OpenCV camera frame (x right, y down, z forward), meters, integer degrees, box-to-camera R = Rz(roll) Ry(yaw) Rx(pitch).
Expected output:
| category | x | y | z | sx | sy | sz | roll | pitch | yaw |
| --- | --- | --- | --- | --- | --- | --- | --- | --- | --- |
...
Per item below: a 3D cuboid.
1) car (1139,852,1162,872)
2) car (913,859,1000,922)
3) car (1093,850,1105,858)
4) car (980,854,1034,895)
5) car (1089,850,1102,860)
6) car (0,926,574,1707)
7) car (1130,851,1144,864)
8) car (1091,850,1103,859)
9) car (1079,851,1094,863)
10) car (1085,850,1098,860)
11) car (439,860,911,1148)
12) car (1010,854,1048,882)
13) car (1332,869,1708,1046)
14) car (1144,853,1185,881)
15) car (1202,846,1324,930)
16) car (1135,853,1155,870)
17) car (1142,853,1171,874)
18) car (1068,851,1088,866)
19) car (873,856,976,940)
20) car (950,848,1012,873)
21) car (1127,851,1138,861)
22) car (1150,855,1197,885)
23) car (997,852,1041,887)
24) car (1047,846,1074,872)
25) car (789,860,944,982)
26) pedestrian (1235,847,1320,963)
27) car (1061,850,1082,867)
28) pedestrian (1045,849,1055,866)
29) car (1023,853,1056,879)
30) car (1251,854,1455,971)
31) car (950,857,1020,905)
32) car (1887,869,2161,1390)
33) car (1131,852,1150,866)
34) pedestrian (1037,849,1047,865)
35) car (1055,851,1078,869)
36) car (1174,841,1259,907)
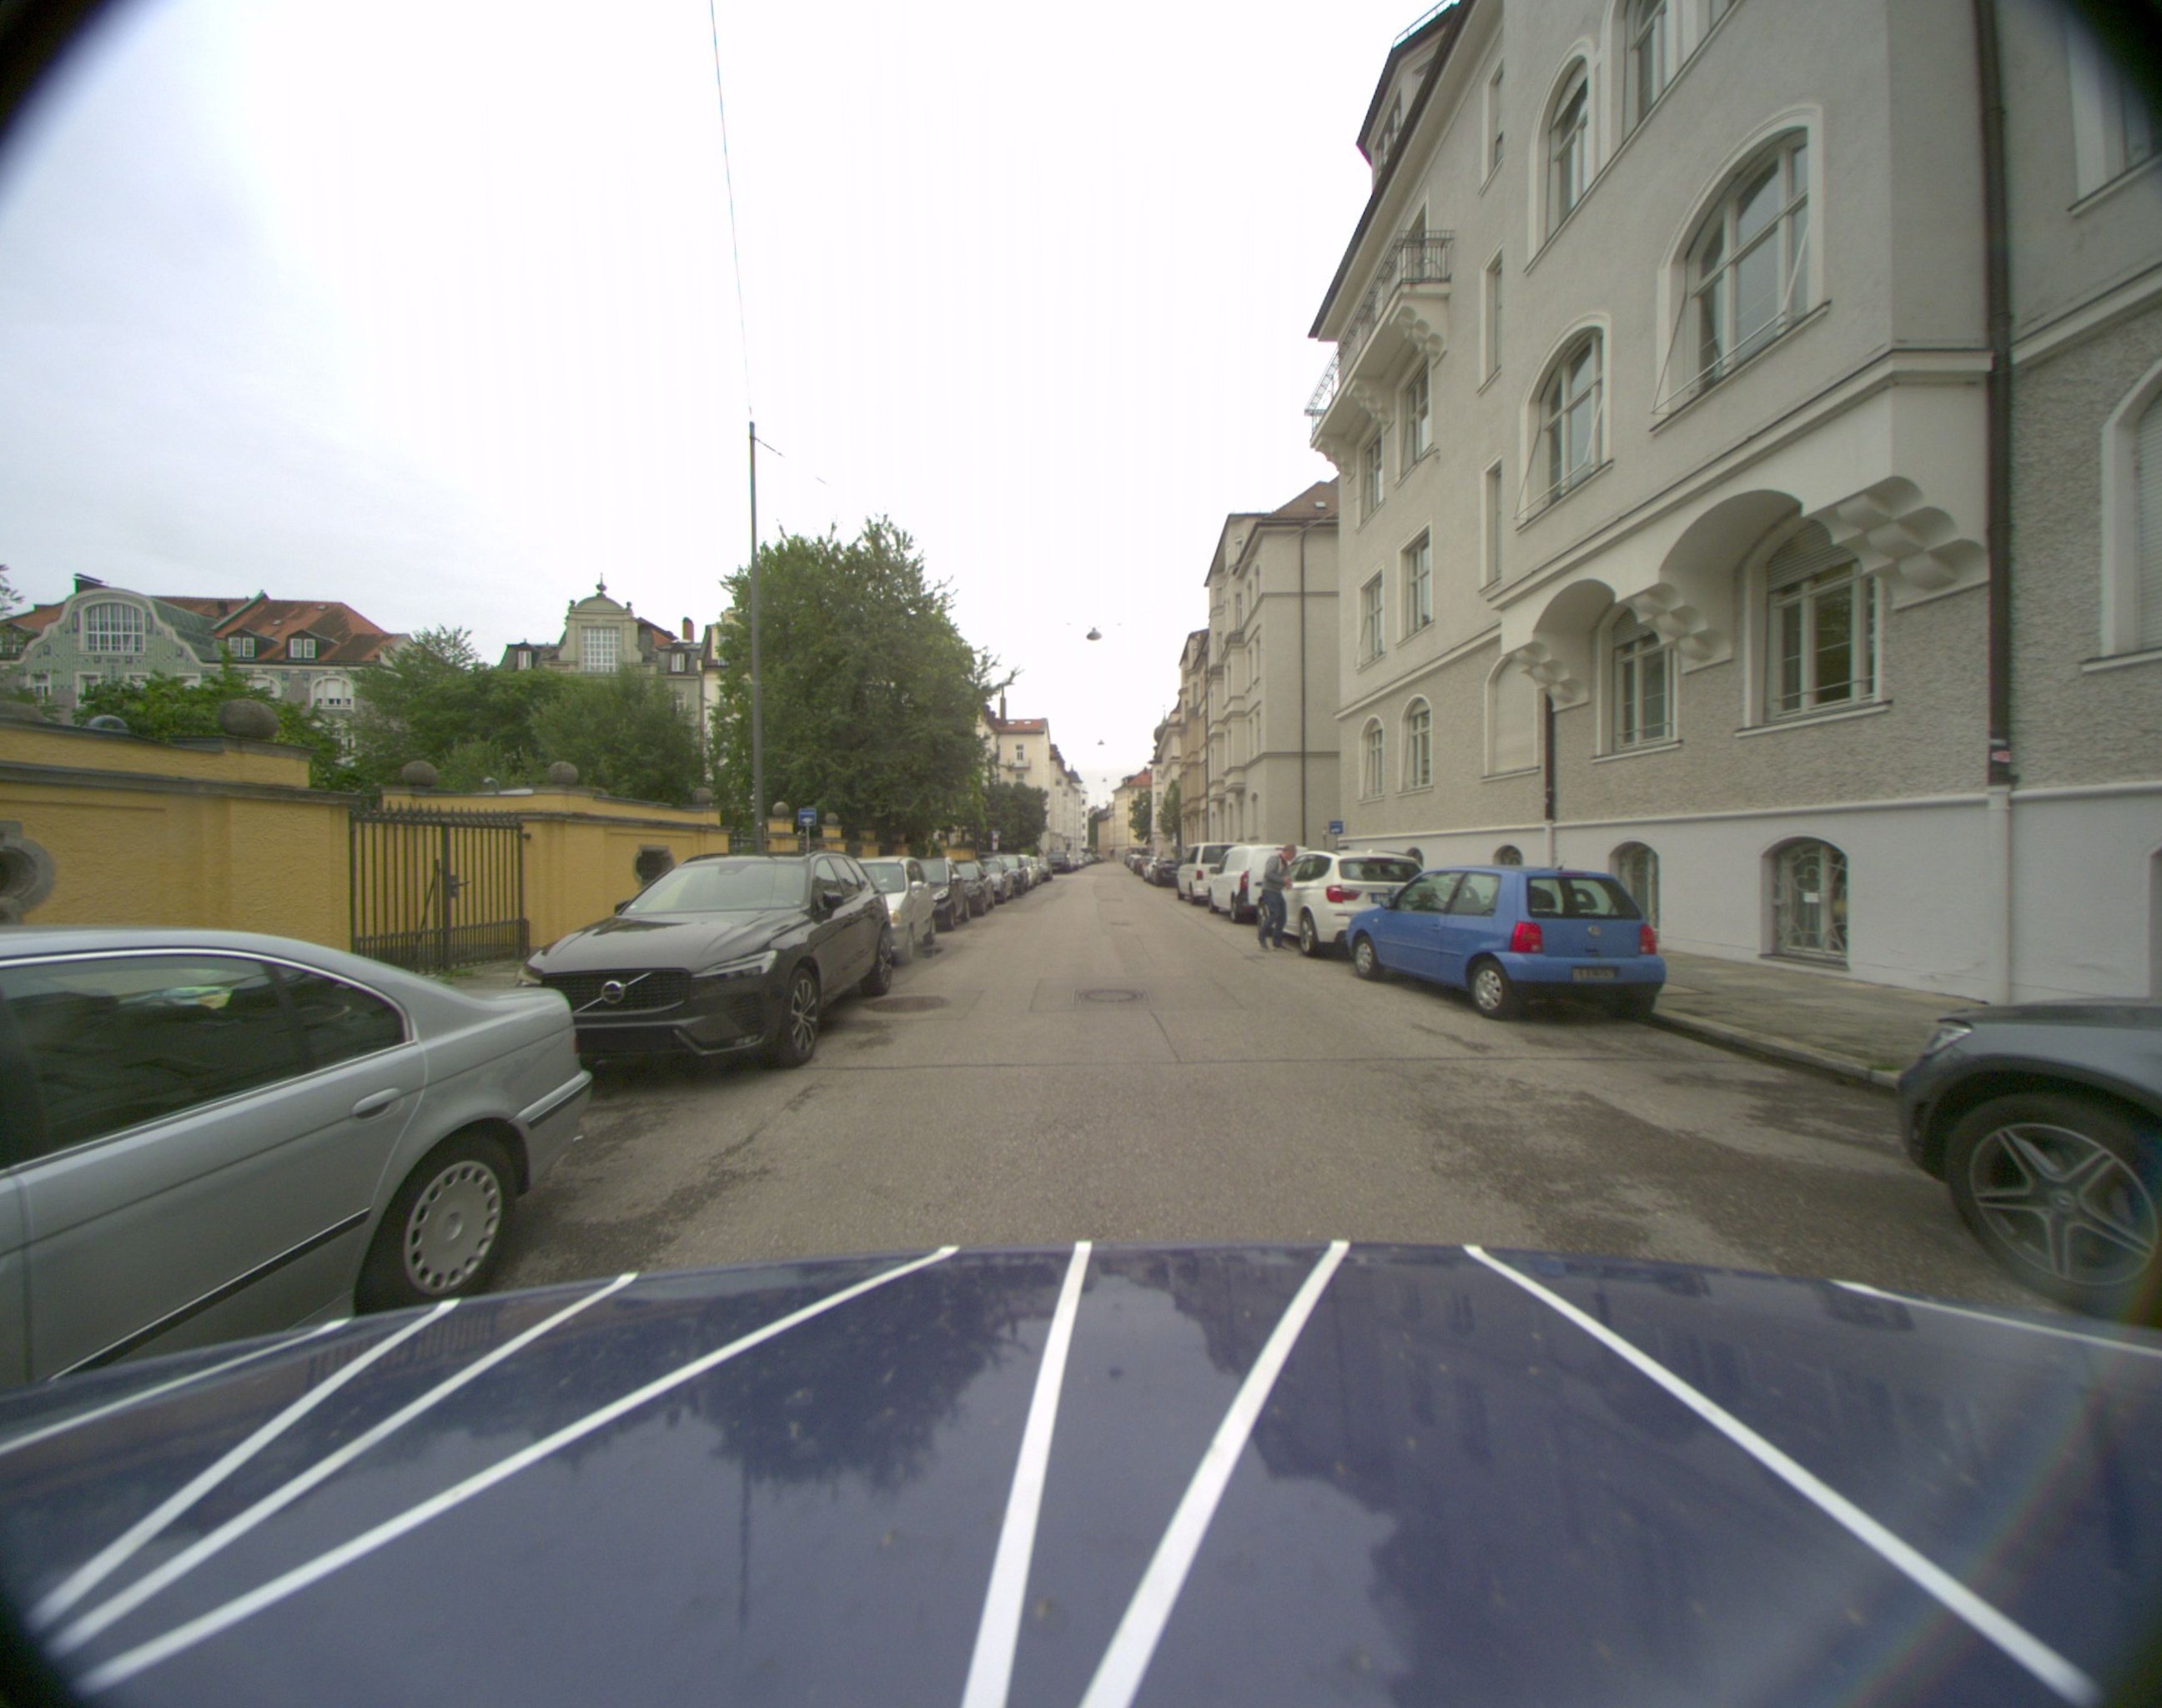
| category | x | y | z | sx | sy | sz | roll | pitch | yaw |
| --- | --- | --- | --- | --- | --- | --- | --- | --- | --- |
| car | 5.360 | 0.581 | 58.778 | 1.626 | 1.448 | 3.942 | 1 | 0 | 3 |
| car | -3.223 | 0.891 | 20.427 | 1.696 | 1.406 | 4.035 | -2 | 0 | -1 |
| car | 3.634 | -0.031 | 151.867 | 1.997 | 1.585 | 4.301 | -4 | 0 | 7 |
| car | -2.981 | 0.794 | 31.447 | 1.717 | 1.561 | 4.691 | 0 | 0 | 0 |
| car | 2.643 | 0.168 | 141.591 | 1.998 | 1.672 | 4.300 | -4 | 0 | 5 |
| car | -3.040 | 1.074 | 1.020 | 1.889 | 1.440 | 4.367 | -2 | 0 | -3 |
| car | 6.922 | 0.415 | 94.345 | 1.627 | 1.522 | 3.689 | 1 | 0 | 2 |
| car | 3.080 | 0.140 | 147.013 | 1.998 | 1.585 | 4.429 | -4 | 0 | 5 |
| car | 0.822 | 0.430 | 116.179 | 1.998 | 1.585 | 4.300 | -4 | 0 | 4 |
| car | 1.989 | 0.235 | 136.477 | 1.998 | 1.585 | 4.300 | -4 | 0 | 4 |
| car | -3.039 | 0.944 | 7.116 | 1.889 | 1.643 | 4.822 | -2 | 0 | -2 |
| car | -2.784 | 0.731 | 41.464 | 1.717 | 1.445 | 4.183 | 0 | 0 | 0 |
| car | 4.425 | 0.930 | 8.391 | 1.697 | 1.406 | 3.660 | 1 | 0 | -8 |
| car | 4.725 | 0.698 | 43.585 | 1.860 | 1.455 | 4.379 | 1 | 0 | 0 |
| car | 4.316 | 0.711 | 18.842 | 1.751 | 1.778 | 5.036 | 1 | 0 | 0 |
| car | 5.417 | 0.607 | 64.435 | 1.626 | 1.421 | 3.942 | 1 | 0 | 4 |
| car | 5.303 | 0.658 | 53.852 | 1.809 | 1.355 | 3.730 | 1 | 0 | 3 |
| car | -0.359 | 0.534 | 91.345 | 1.998 | 1.585 | 4.300 | -4 | 0 | 4 |
| car | -3.283 | 0.871 | 16.427 | 1.511 | 1.557 | 2.869 | -2 | 1 | 1 |
| car | -7.791 | 0.509 | 59.610 | 4.678 | 1.860 | 1.742 | 0 | -2 | -4 |
| car | 8.175 | 0.265 | 120.940 | 1.627 | 1.522 | 3.920 | 1 | 0 | 2 |
| car | 4.612 | 0.765 | 38.528 | 1.860 | 1.404 | 4.379 | 1 | 0 | 0 |
| car | -2.913 | 0.713 | 36.552 | 1.717 | 1.561 | 4.319 | 0 | 0 | 0 |
| car | -1.688 | 0.420 | 64.017 | 1.998 | 1.949 | 4.433 | -4 | 0 | 0 |
| car | -3.192 | 0.911 | 11.997 | 1.488 | 1.530 | 3.691 | -2 | 0 | -3 |
| pedestrian | 3.139 | 0.774 | 12.148 | 0.878 | 1.745 | 0.962 | -1 | 1 | -33 |
| car | -0.928 | 0.494 | 79.145 | 1.998 | 1.585 | 4.299 | -4 | 0 | 1 |
| pedestrian | -3.218 | 0.385 | 79.047 | 0.876 | 1.745 | 1.052 | 0 | 1 | 1 |
| car | -2.454 | 0.705 | 46.207 | 1.717 | 1.445 | 4.955 | 0 | 0 | 0 |
| car | 4.320 | 0.827 | 12.891 | 1.751 | 1.593 | 4.495 | 1 | 0 | -1 |
| car | -3.117 | 0.834 | 25.414 | 1.696 | 1.406 | 4.515 | 0 | 0 | 1 |
| car | 4.257 | 0.881 | 0.899 | 1.751 | 1.593 | 4.495 | 1 | 0 | -1 |
| car | 6.180 | 0.512 | 79.049 | 1.627 | 1.421 | 3.689 | 1 | 0 | 0 |
| pedestrian | -4.052 | 0.344 | 79.174 | 0.876 | 1.680 | 1.052 | 0 | 1 | 1 |
| car | -1.385 | 0.594 | 74.200 | 1.998 | 1.643 | 4.448 | -4 | 0 | 0 |
| car | 4.311 | 0.586 | 25.002 | 1.861 | 1.927 | 4.956 | 1 | 0 | 0 |
